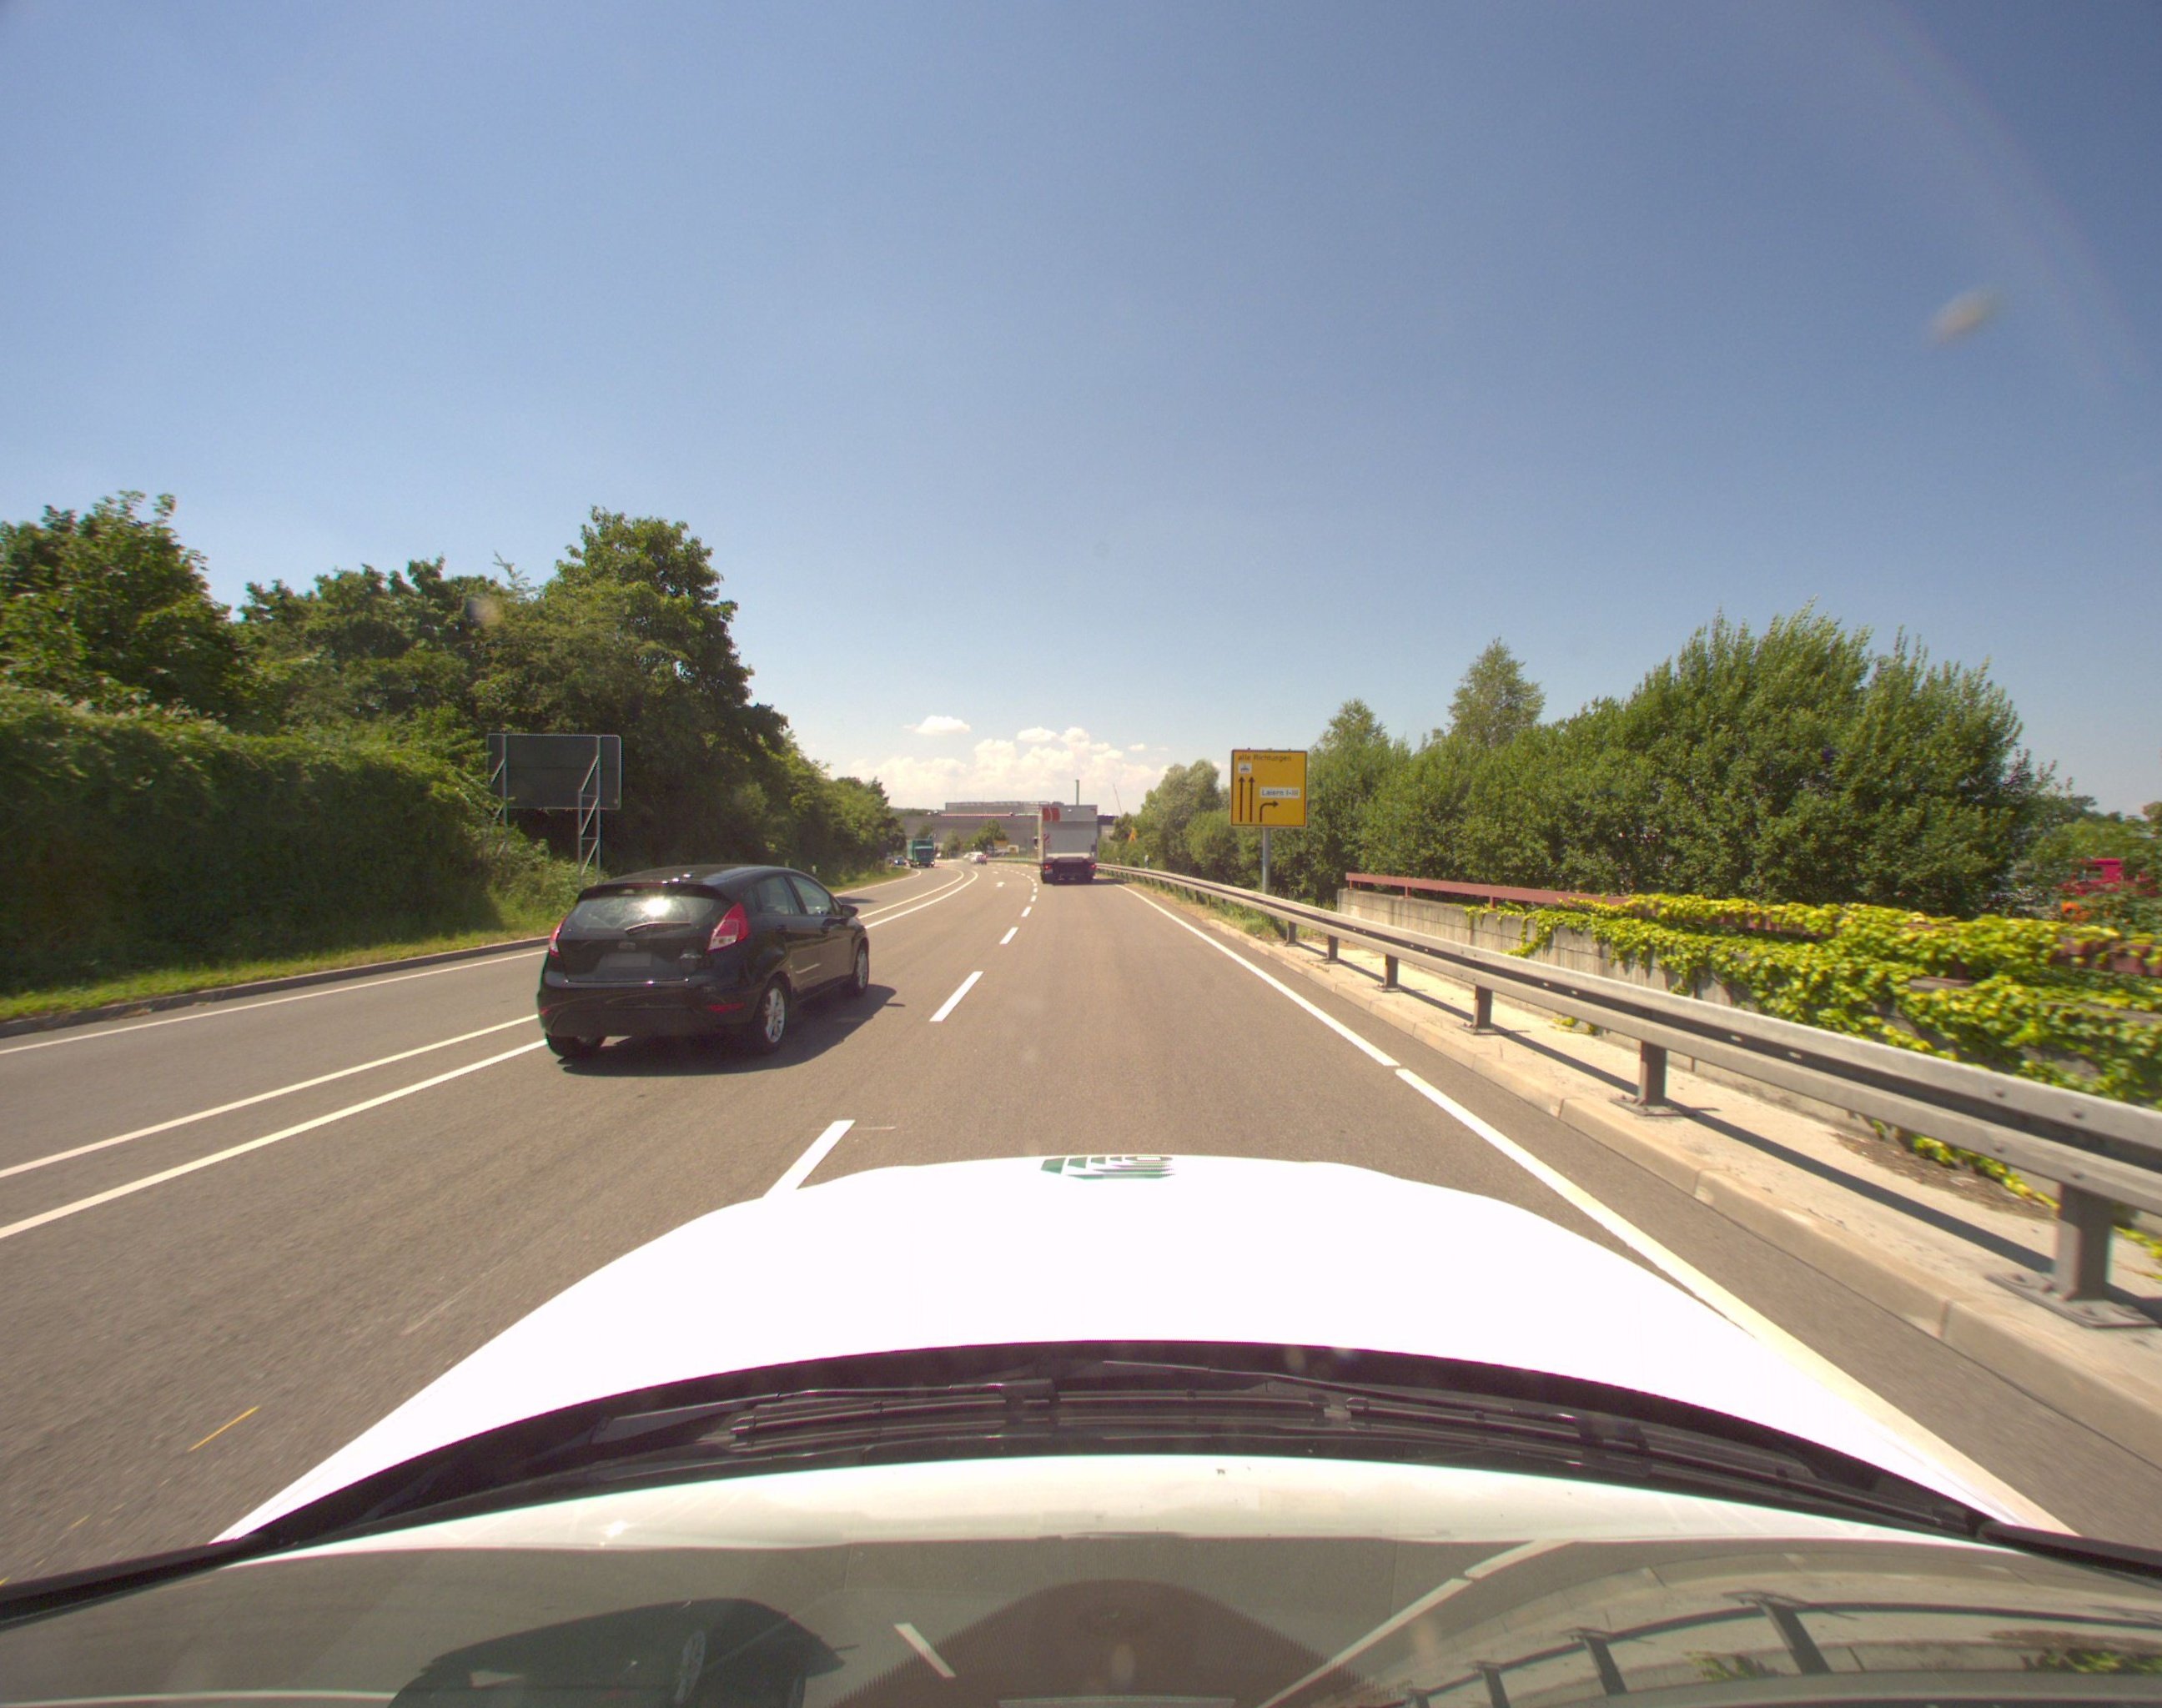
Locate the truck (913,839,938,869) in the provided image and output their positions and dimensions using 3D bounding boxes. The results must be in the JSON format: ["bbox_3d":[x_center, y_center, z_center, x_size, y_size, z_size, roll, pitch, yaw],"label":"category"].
[{"bbox_3d":[-19.270,0.009,100.562,2.871,3.574,9.391,-1,0,-12],"label":"truck"}]

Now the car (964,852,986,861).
[{"bbox_3d":[-24.299,0.606,187.019,4.727,1.932,2.155,-1,0,2],"label":"car"}]

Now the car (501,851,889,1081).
[{"bbox_3d":[-3.129,0.761,7.667,1.648,1.493,4.207,0,1,0],"label":"car"}]

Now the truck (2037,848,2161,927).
[{"bbox_3d":[54.192,1.740,39.707,9.301,3.683,3.150,3,3,41],"label":"truck"}]

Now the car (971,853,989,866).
[{"bbox_3d":[-14.100,0.733,113.227,1.947,1.664,3.980,2,-1,-15],"label":"car"}]

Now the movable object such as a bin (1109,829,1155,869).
[{"bbox_3d":[7.063,-0.770,114.920,3.431,5.260,9.180,1,2,-16],"label":"movable object such as a bin"}]

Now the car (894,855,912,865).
[{"bbox_3d":[-25.809,0.872,118.384,1.873,1.442,4.324,-1,0,-4],"label":"car"}]

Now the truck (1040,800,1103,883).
[{"bbox_3d":[-0.614,-0.619,41.026,2.797,3.710,9.100,0,1,-2],"label":"truck"}]
